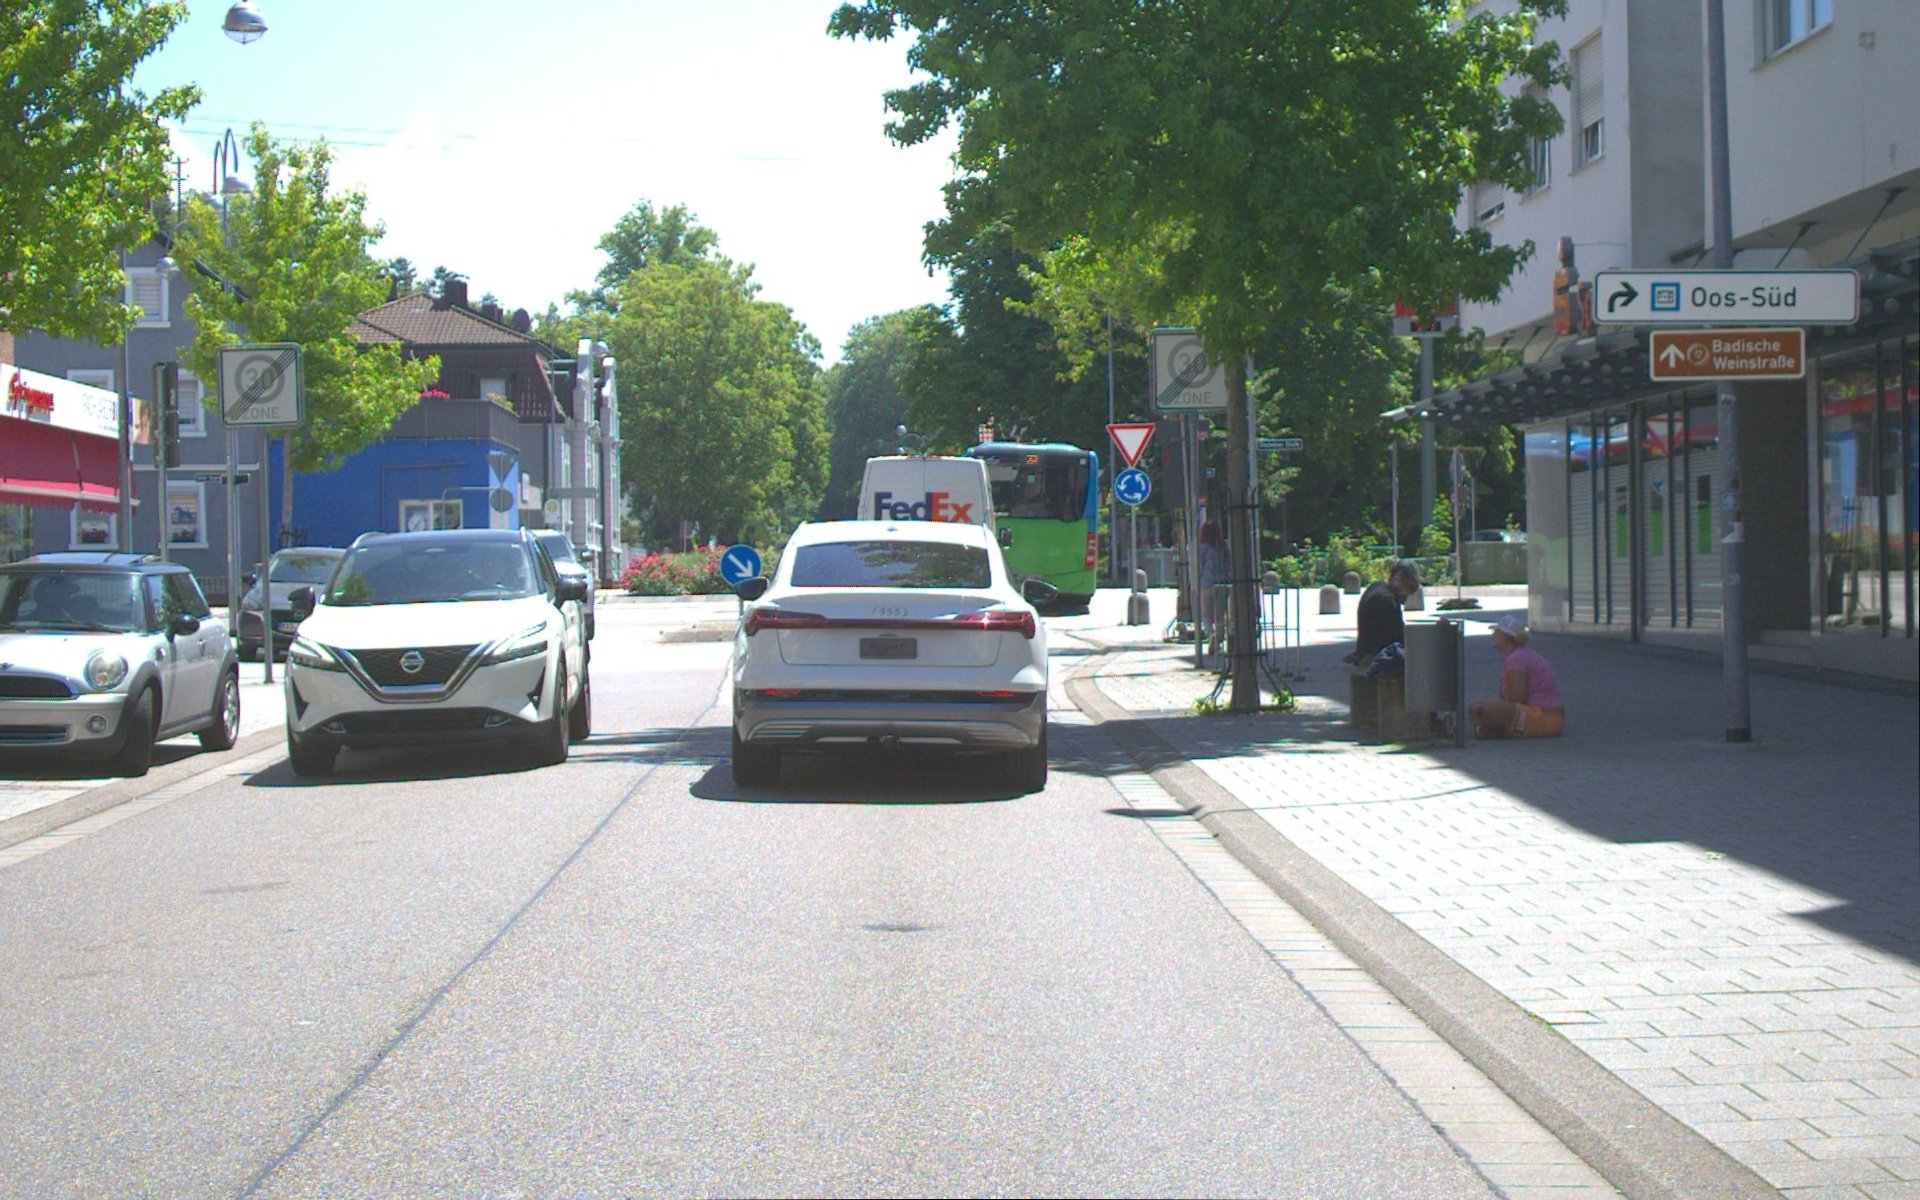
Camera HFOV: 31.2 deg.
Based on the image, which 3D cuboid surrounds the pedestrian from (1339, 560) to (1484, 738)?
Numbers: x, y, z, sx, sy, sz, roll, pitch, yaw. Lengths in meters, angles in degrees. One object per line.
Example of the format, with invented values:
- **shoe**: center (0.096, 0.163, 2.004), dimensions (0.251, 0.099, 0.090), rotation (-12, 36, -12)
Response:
- **pedestrian**: center (3.193, 0.339, 24.363), dimensions (0.906, 1.232, 0.648), rotation (-1, 1, -2)

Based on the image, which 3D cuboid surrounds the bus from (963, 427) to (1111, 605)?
- **bus**: center (1.500, -1.574, 66.783), dimensions (2.661, 3.210, 7.301), rotation (1, 0, 1)

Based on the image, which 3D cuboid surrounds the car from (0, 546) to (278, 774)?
- **car**: center (-6.207, 0.356, 24.463), dimensions (1.752, 1.448, 4.401), rotation (1, 1, 1)

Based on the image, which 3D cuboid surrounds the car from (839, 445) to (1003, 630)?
- **car**: center (-0.568, -0.854, 48.692), dimensions (2.156, 2.433, 5.284), rotation (1, 0, -1)

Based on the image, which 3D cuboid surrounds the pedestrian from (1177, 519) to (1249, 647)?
- **pedestrian**: center (2.990, -0.205, 40.663), dimensions (0.580, 1.497, 0.719), rotation (-1, 1, -19)

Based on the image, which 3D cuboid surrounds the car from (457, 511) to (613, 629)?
- **car**: center (-6.738, -0.475, 54.175), dimensions (1.864, 1.751, 4.001), rotation (1, 0, -15)

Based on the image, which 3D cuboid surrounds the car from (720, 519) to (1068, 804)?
- **car**: center (-0.466, 0.328, 21.856), dimensions (1.993, 1.627, 4.000), rotation (1, 1, -2)

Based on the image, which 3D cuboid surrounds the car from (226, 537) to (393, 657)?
- **car**: center (-8.574, -0.069, 45.601), dimensions (1.837, 1.490, 4.001), rotation (-1, 1, -6)

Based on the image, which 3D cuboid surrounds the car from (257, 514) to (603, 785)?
- **car**: center (-3.627, 0.292, 24.206), dimensions (1.856, 1.686, 4.151), rotation (-2, 1, -2)

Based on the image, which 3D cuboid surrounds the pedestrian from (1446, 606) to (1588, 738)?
- **pedestrian**: center (3.864, 0.495, 23.902), dimensions (0.906, 0.876, 0.648), rotation (-1, 1, 4)
